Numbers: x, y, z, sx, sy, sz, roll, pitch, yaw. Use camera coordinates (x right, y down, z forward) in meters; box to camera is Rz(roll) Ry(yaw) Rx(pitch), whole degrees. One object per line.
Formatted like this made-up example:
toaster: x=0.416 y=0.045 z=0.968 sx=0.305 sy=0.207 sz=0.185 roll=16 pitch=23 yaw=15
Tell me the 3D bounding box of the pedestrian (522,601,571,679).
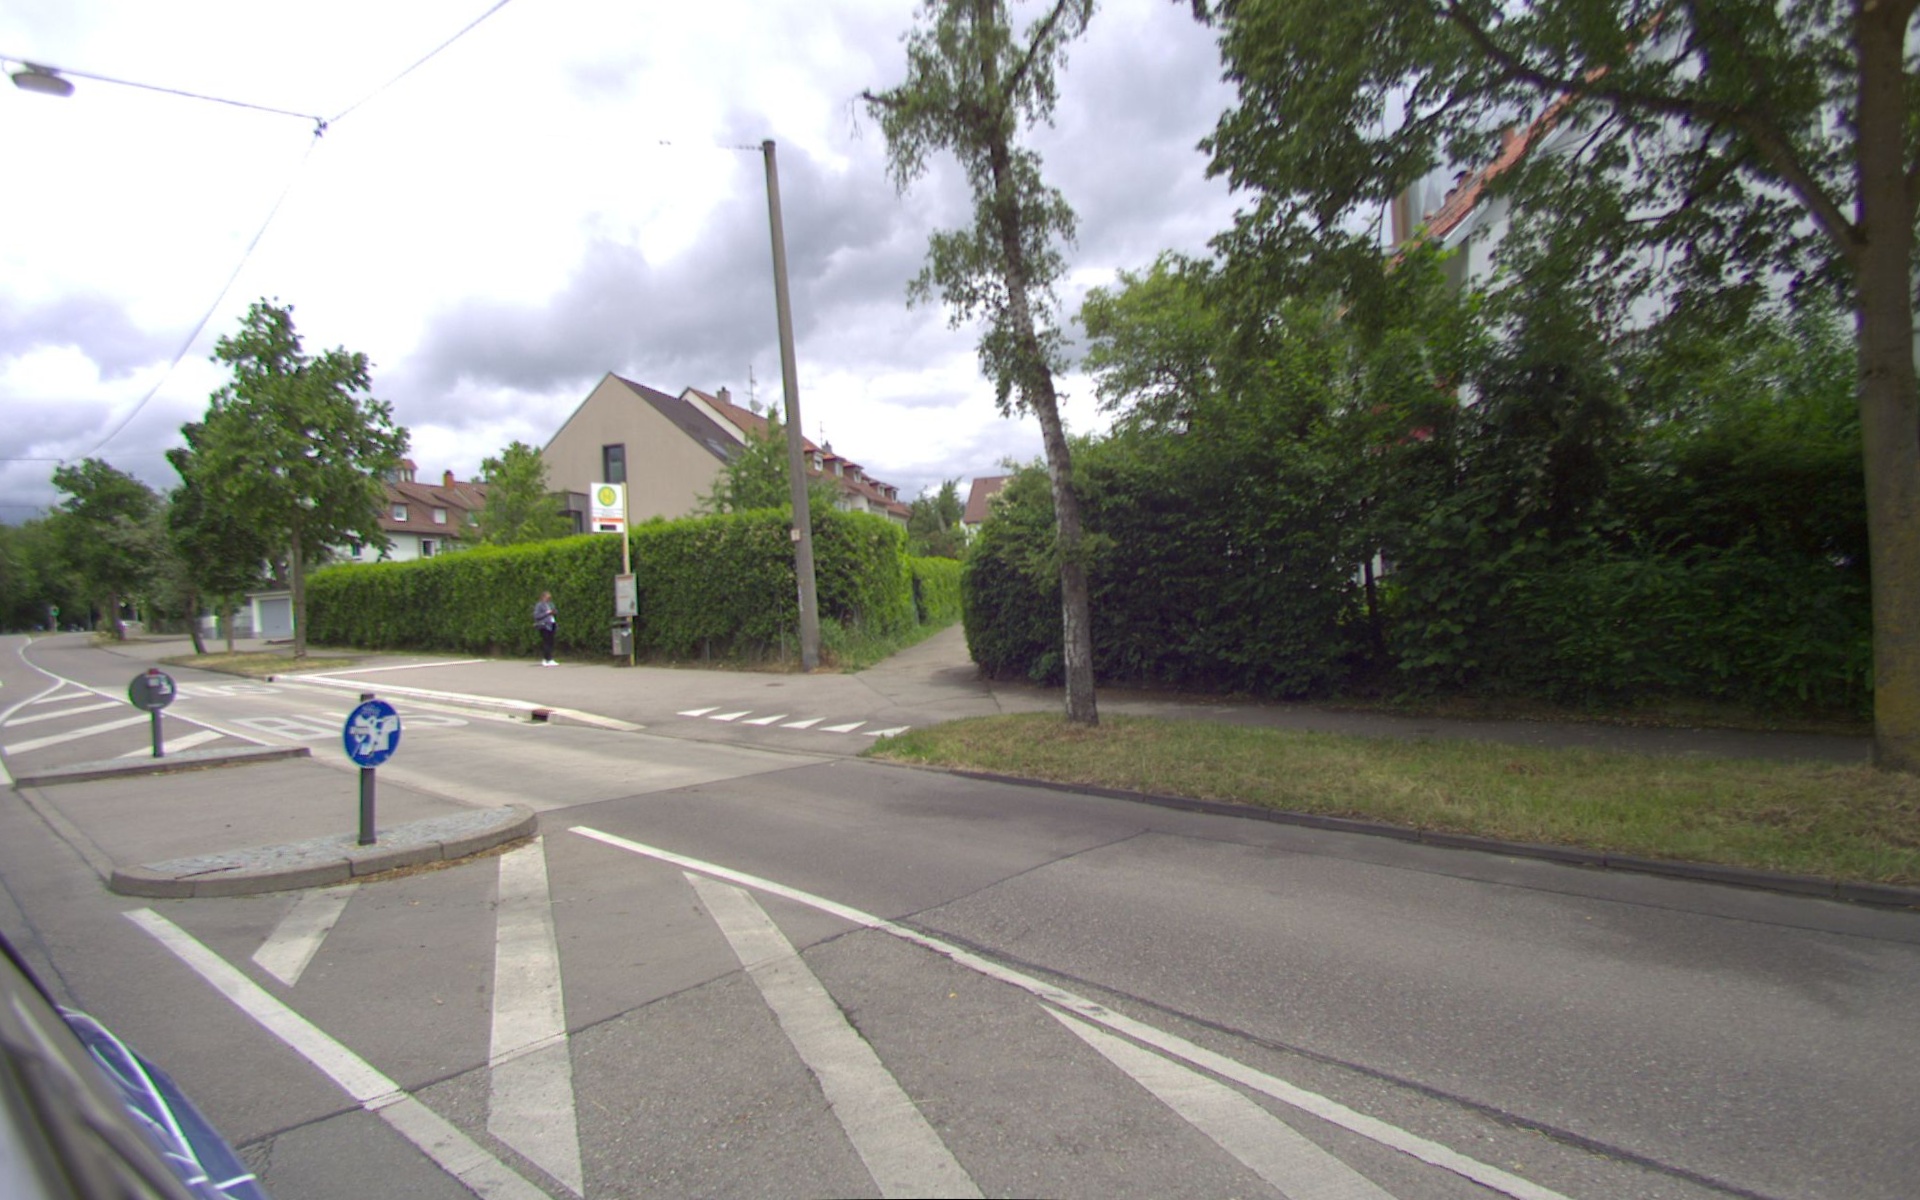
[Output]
pedestrian: x=-9.452 y=0.912 z=23.116 sx=0.777 sy=1.723 sz=0.685 roll=-2 pitch=0 yaw=37
